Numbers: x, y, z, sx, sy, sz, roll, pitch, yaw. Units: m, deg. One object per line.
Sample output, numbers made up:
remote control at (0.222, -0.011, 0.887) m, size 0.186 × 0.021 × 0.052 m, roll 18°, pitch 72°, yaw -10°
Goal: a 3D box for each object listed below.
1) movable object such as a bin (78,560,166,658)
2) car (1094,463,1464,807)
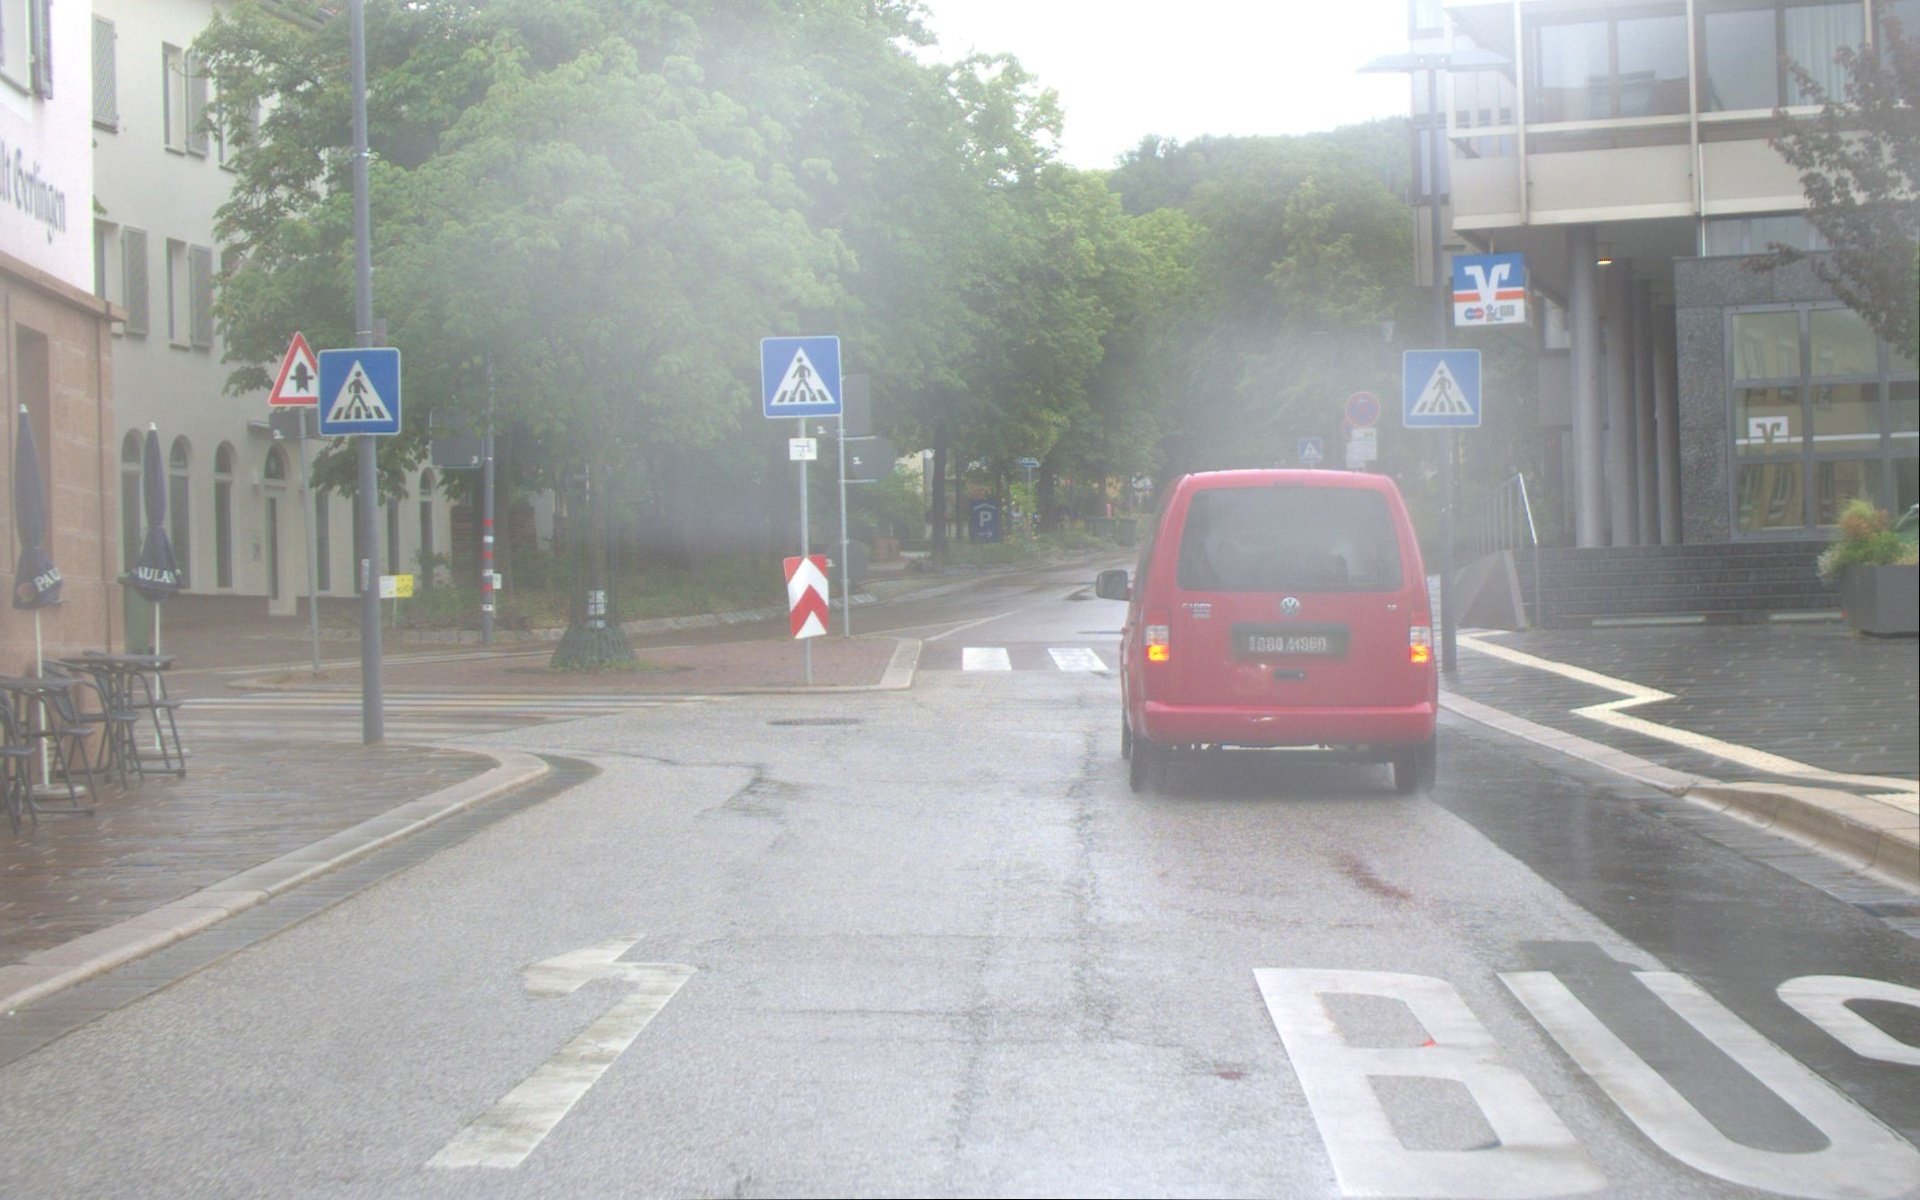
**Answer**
movable object such as a bin at (-9.849, 0.103, 40.396) m, size 0.738 × 1.120 × 0.649 m, roll -2°, pitch 0°, yaw 16°
car at (1.812, 0.172, 20.753) m, size 1.862 × 1.824 × 4.185 m, roll -1°, pitch 0°, yaw 1°
